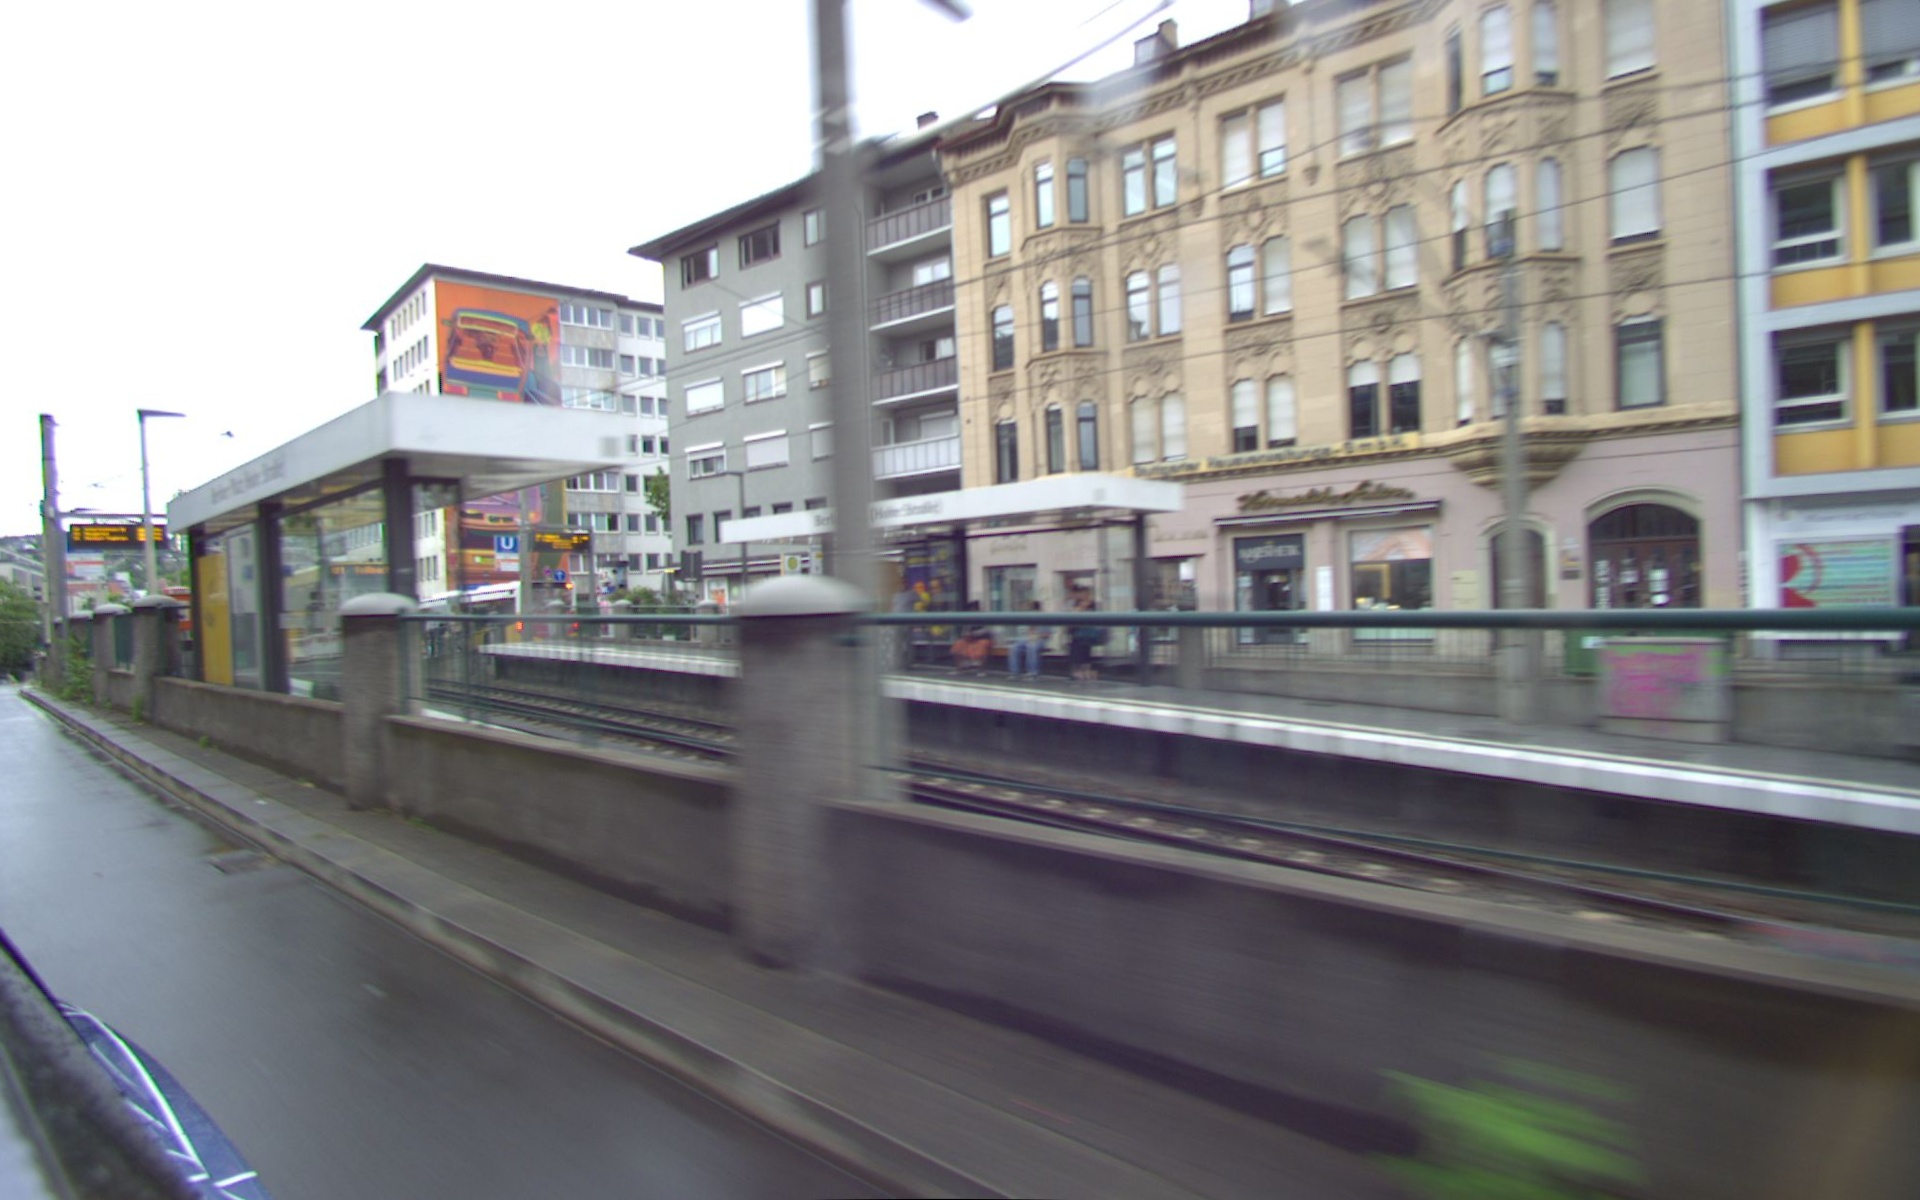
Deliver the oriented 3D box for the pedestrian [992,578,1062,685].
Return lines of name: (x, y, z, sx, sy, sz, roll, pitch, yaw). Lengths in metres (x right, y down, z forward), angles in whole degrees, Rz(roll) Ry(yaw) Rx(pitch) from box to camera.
pedestrian: (1.081, 0.518, 16.422, 0.762, 1.661, 0.778, 6, -5, -42)

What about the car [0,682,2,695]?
car: (-114.674, 10.614, 119.889, 1.597, 1.475, 3.592, -4, -2, -42)

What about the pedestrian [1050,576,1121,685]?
pedestrian: (1.988, 0.496, 16.020, 0.762, 1.661, 0.778, 6, -5, -42)

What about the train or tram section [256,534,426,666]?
train or tram section: (-20.777, 0.155, 33.612, 2.746, 3.719, 9.723, -4, -1, -43)

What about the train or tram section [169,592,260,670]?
train or tram section: (-40.141, 1.765, 54.374, 2.746, 3.719, 8.983, -4, -1, -43)

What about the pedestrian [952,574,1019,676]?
pedestrian: (0.431, 0.439, 17.250, 0.762, 1.661, 0.778, 6, -5, -42)

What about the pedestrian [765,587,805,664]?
pedestrian: (-3.591, 0.511, 20.785, 0.517, 1.549, 0.551, -3, -1, 44)

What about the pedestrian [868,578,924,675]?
pedestrian: (-1.138, 0.459, 17.998, 0.625, 1.673, 0.683, -2, 0, -43)

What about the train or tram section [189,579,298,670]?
train or tram section: (-33.837, 1.262, 47.607, 2.746, 3.719, 9.518, -4, -1, -43)

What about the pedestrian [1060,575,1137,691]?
pedestrian: (2.058, 0.504, 15.057, 0.669, 1.661, 0.896, 5, -5, -42)

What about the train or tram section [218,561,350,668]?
train or tram section: (-27.331, 0.707, 40.659, 2.746, 3.719, 9.518, -4, -1, -43)
